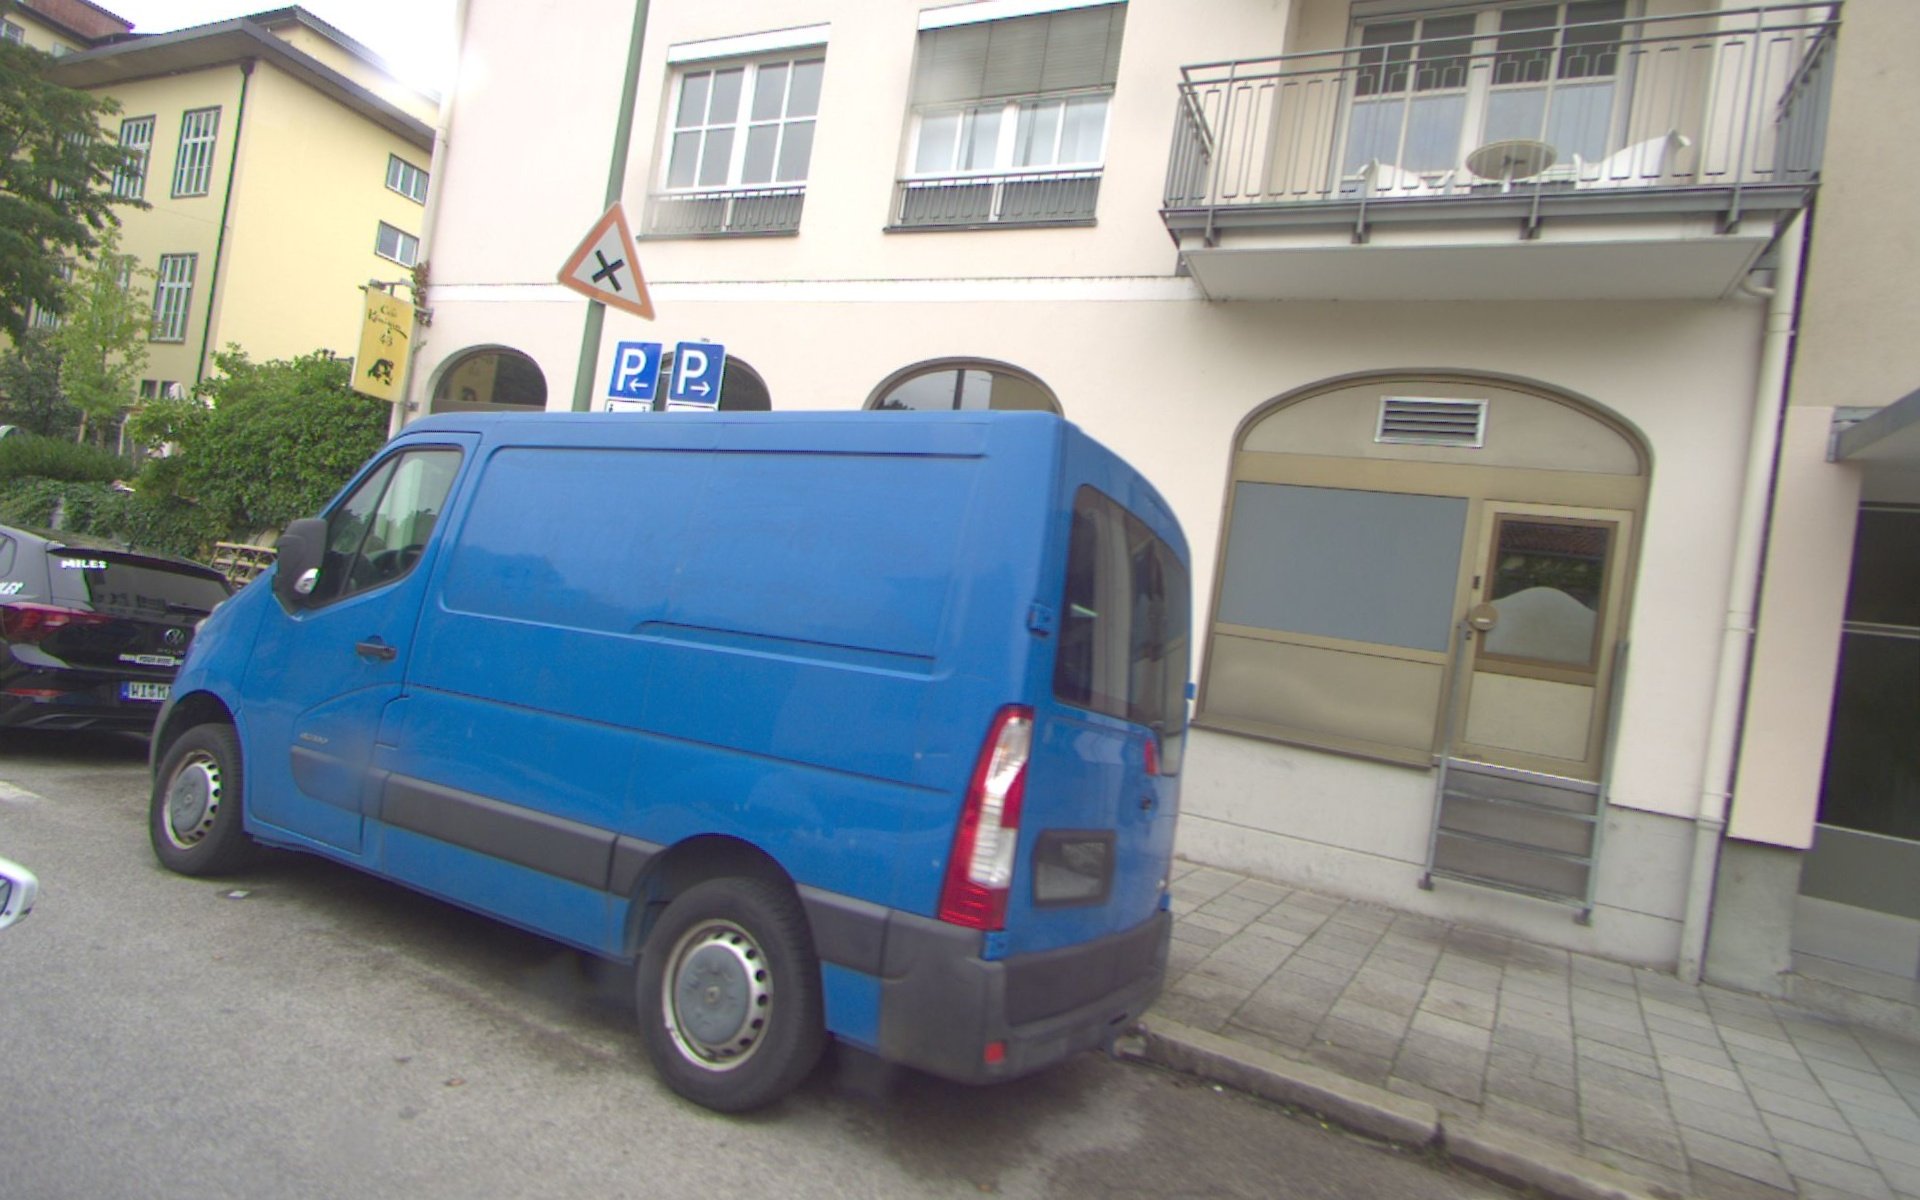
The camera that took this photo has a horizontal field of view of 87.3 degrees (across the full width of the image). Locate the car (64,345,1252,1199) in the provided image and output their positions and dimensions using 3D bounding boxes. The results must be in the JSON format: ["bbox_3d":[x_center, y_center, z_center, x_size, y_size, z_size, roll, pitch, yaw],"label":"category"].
[{"bbox_3d":[-1.479,0.389,4.689,4.941,2.233,2.120,6,-7,28],"label":"car"}]

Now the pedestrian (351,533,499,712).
[{"bbox_3d":[-5.281,0.230,9.953,0.815,1.625,0.809,7,0,25],"label":"pedestrian"}]

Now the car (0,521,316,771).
[{"bbox_3d":[-6.918,0.149,7.254,3.927,1.408,1.724,8,-5,23],"label":"car"}]

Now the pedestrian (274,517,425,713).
[{"bbox_3d":[-5.577,0.144,9.212,0.815,1.648,0.680,7,0,24],"label":"pedestrian"}]
